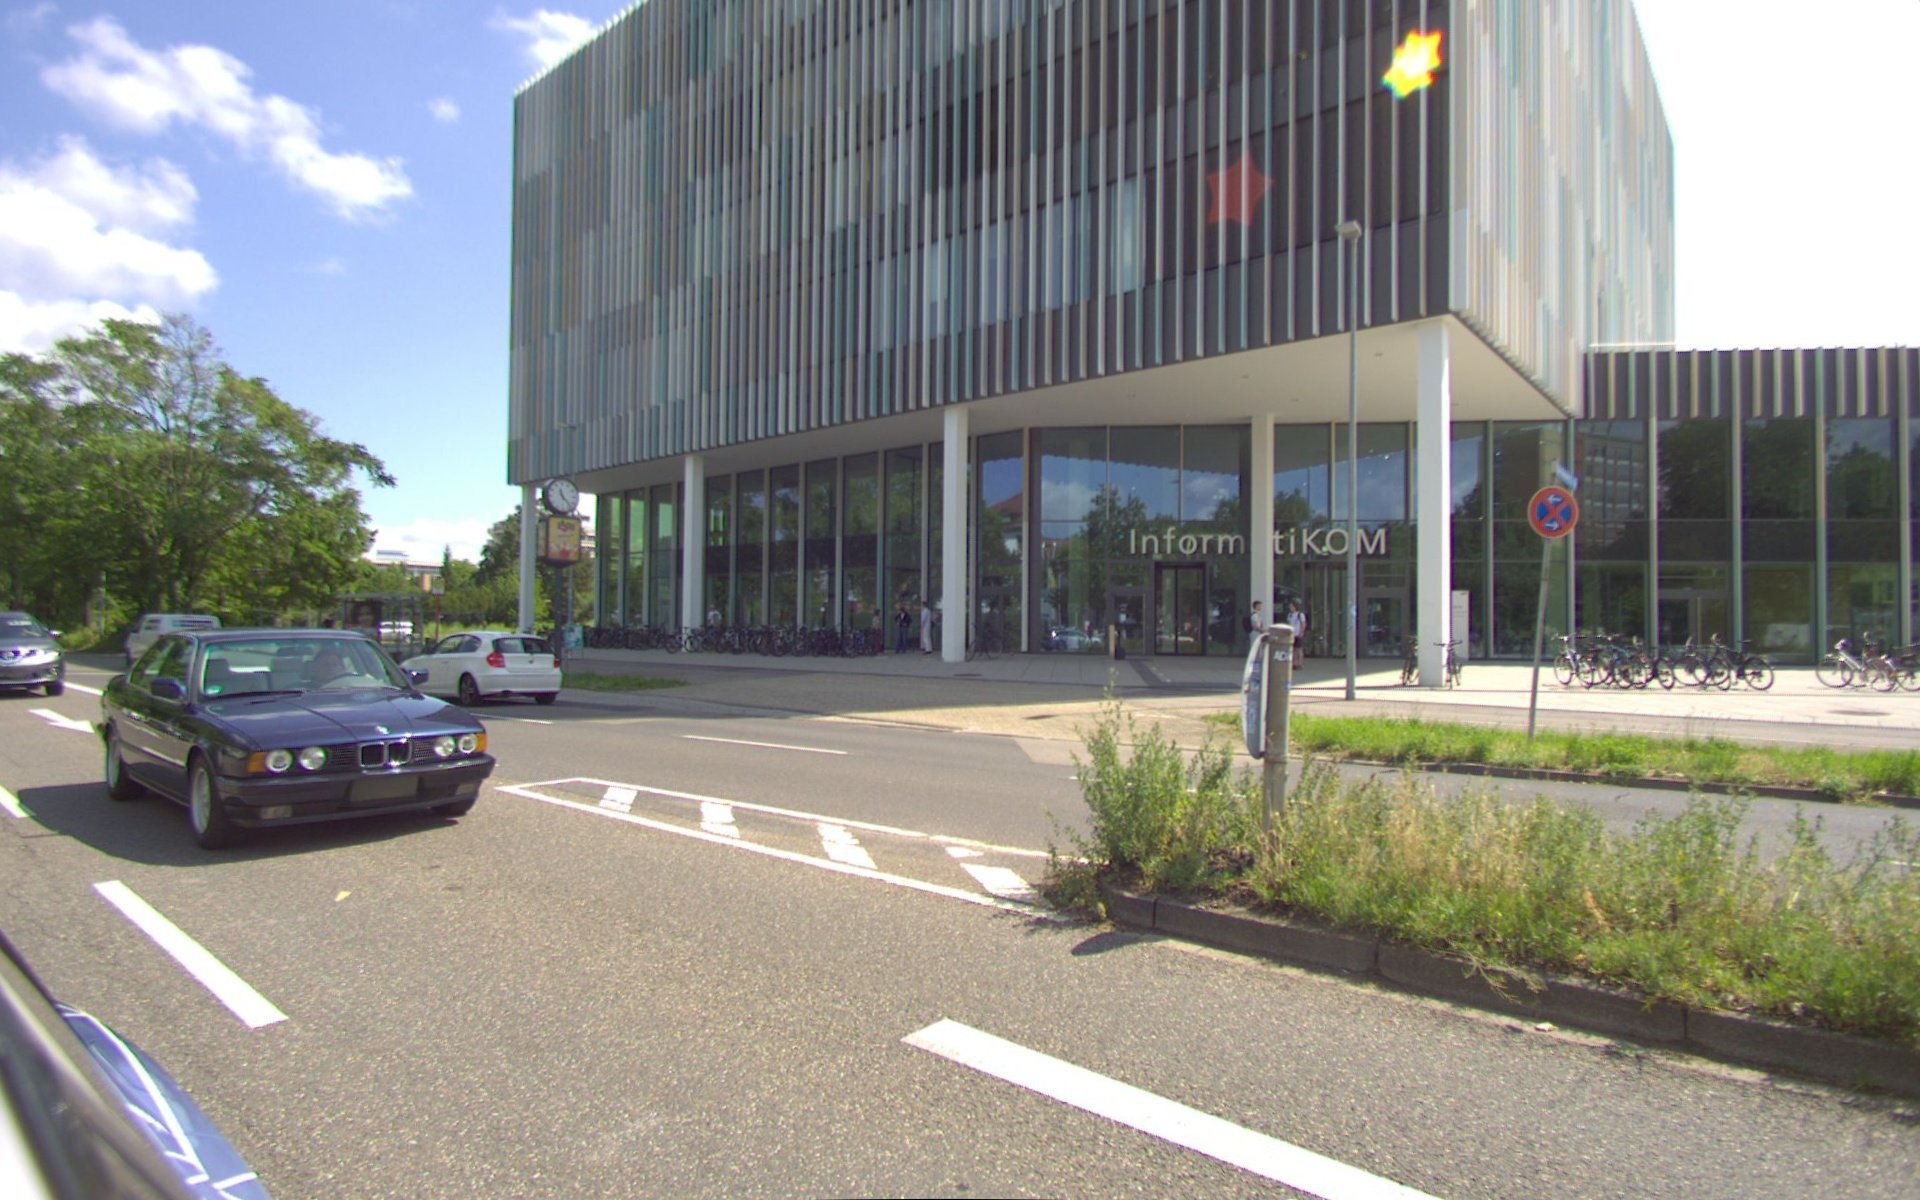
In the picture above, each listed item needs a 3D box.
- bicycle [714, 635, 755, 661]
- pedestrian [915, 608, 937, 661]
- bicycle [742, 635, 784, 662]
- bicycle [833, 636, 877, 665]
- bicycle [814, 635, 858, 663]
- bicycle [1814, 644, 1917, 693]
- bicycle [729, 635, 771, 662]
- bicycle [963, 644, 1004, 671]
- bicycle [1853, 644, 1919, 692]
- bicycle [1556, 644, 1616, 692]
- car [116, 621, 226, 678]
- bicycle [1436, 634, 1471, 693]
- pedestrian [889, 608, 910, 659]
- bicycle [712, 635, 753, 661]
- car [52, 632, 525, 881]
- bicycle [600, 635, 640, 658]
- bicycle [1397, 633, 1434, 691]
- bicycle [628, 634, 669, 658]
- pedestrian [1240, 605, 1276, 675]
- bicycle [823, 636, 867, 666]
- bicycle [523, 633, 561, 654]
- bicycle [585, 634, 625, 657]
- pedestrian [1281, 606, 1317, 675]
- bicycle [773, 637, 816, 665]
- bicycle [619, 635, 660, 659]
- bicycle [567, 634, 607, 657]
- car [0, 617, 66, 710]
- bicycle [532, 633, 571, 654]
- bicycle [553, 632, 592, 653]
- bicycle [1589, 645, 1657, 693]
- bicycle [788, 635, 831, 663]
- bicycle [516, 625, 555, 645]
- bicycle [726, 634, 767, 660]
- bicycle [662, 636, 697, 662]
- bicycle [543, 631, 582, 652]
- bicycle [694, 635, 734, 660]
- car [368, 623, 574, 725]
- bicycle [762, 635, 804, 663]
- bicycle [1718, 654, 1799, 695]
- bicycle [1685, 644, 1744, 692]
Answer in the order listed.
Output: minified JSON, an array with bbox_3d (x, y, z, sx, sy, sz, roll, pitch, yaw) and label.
[{"bbox_3d":[-8.788,1.881,39.515,1.521,0.962,0.374,0,-1,-35],"label":"bicycle"},{"bbox_3d":[-1.181,1.213,35.557,0.553,1.856,0.556,-1,-1,33],"label":"pedestrian"},{"bbox_3d":[-7.411,1.801,38.077,1.521,0.962,0.374,0,-1,-35],"label":"bicycle"},{"bbox_3d":[-3.626,1.740,35.054,1.521,0.962,0.374,0,-1,-35],"label":"bicycle"},{"bbox_3d":[-4.413,1.741,36.048,1.521,0.962,0.374,0,-1,-35],"label":"bicycle"},{"bbox_3d":[19.371,1.441,21.700,0.521,0.962,1.774,0,-1,-3],"label":"bicycle"},{"bbox_3d":[-8.006,1.831,38.633,1.521,0.962,0.374,0,-1,-35],"label":"bicycle"},{"bbox_3d":[0.759,1.822,32.081,0.373,0.782,1.524,-1,-1,44],"label":"bicycle"},{"bbox_3d":[20.195,1.449,21.663,0.521,0.962,1.774,0,-1,-3],"label":"bicycle"},{"bbox_3d":[13.637,1.458,22.072,0.368,0.962,1.545,0,-1,1],"label":"bicycle"},{"bbox_3d":[-27.042,1.697,34.627,4.726,1.825,1.879,-2,-4,39],"label":"car"},{"bbox_3d":[10.831,1.376,22.195,0.373,1.196,1.526,0,0,39],"label":"bicycle"},{"bbox_3d":[-2.206,1.225,36.910,0.553,1.856,0.556,-1,-1,33],"label":"pedestrian"},{"bbox_3d":[-8.968,1.890,39.903,1.521,0.962,0.374,0,-1,-35],"label":"bicycle"},{"bbox_3d":[-5.389,0.957,7.866,4.607,1.397,1.676,-1,-2,38],"label":"car"},{"bbox_3d":[-15.259,2.090,45.450,0.433,0.962,1.761,-1,-1,40],"label":"bicycle"},{"bbox_3d":[10.131,1.365,22.491,0.373,1.196,1.526,0,0,39],"label":"bicycle"},{"bbox_3d":[-13.459,1.982,43.776,0.433,0.962,1.761,-1,-1,40],"label":"bicycle"},{"bbox_3d":[8.073,1.070,27.412,0.775,1.856,0.519,0,-1,-15],"label":"pedestrian"},{"bbox_3d":[-4.040,1.783,35.490,1.521,0.962,0.374,0,-1,-35],"label":"bicycle"},{"bbox_3d":[-20.607,2.141,49.906,0.433,0.962,1.761,-1,-1,40],"label":"bicycle"},{"bbox_3d":[-16.131,2.056,46.018,0.433,0.962,1.761,-1,-1,40],"label":"bicycle"},{"bbox_3d":[9.297,1.088,27.774,0.680,1.856,0.679,1,-1,-42],"label":"pedestrian"},{"bbox_3d":[-6.034,1.848,36.856,1.521,0.962,0.374,0,-1,-35],"label":"bicycle"},{"bbox_3d":[-14.145,2.060,44.717,0.433,0.962,1.761,-1,-1,40],"label":"bicycle"},{"bbox_3d":[-17.245,2.101,46.852,0.433,0.962,1.761,-1,-1,40],"label":"bicycle"},{"bbox_3d":[-19.180,1.201,19.986,4.477,1.691,1.800,-1,-1,42],"label":"car"},{"bbox_3d":[-19.840,2.100,49.181,0.433,0.962,1.761,-1,-1,40],"label":"bicycle"},{"bbox_3d":[-18.415,2.008,48.105,0.433,0.962,1.761,-1,-1,40],"label":"bicycle"},{"bbox_3d":[14.577,1.498,22.292,0.368,0.962,1.772,0,-1,1],"label":"bicycle"},{"bbox_3d":[-5.451,1.768,36.674,1.521,0.962,0.374,0,-1,-35],"label":"bicycle"},{"bbox_3d":[-21.080,1.742,50.293,0.433,0.962,1.761,-1,-1,40],"label":"bicycle"},{"bbox_3d":[-8.258,1.802,39.137,1.521,0.962,0.374,0,-1,-35],"label":"bicycle"},{"bbox_3d":[-11.203,1.949,40.450,0.372,0.962,1.531,-1,-1,29],"label":"bicycle"},{"bbox_3d":[-19.074,1.991,48.567,0.433,0.962,1.761,-1,-1,40],"label":"bicycle"},{"bbox_3d":[-9.902,1.898,40.691,1.521,0.962,0.374,0,-1,-35],"label":"bicycle"},{"bbox_3d":[-9.853,1.421,20.230,4.724,1.825,1.708,-2,-4,37],"label":"car"},{"bbox_3d":[-6.516,1.807,37.297,1.521,0.962,0.374,0,-1,-35],"label":"bicycle"},{"bbox_3d":[17.109,1.576,21.724,0.523,0.770,1.769,0,-1,8],"label":"bicycle"},{"bbox_3d":[16.329,1.452,21.940,0.525,0.962,1.761,0,-1,20],"label":"bicycle"}]
